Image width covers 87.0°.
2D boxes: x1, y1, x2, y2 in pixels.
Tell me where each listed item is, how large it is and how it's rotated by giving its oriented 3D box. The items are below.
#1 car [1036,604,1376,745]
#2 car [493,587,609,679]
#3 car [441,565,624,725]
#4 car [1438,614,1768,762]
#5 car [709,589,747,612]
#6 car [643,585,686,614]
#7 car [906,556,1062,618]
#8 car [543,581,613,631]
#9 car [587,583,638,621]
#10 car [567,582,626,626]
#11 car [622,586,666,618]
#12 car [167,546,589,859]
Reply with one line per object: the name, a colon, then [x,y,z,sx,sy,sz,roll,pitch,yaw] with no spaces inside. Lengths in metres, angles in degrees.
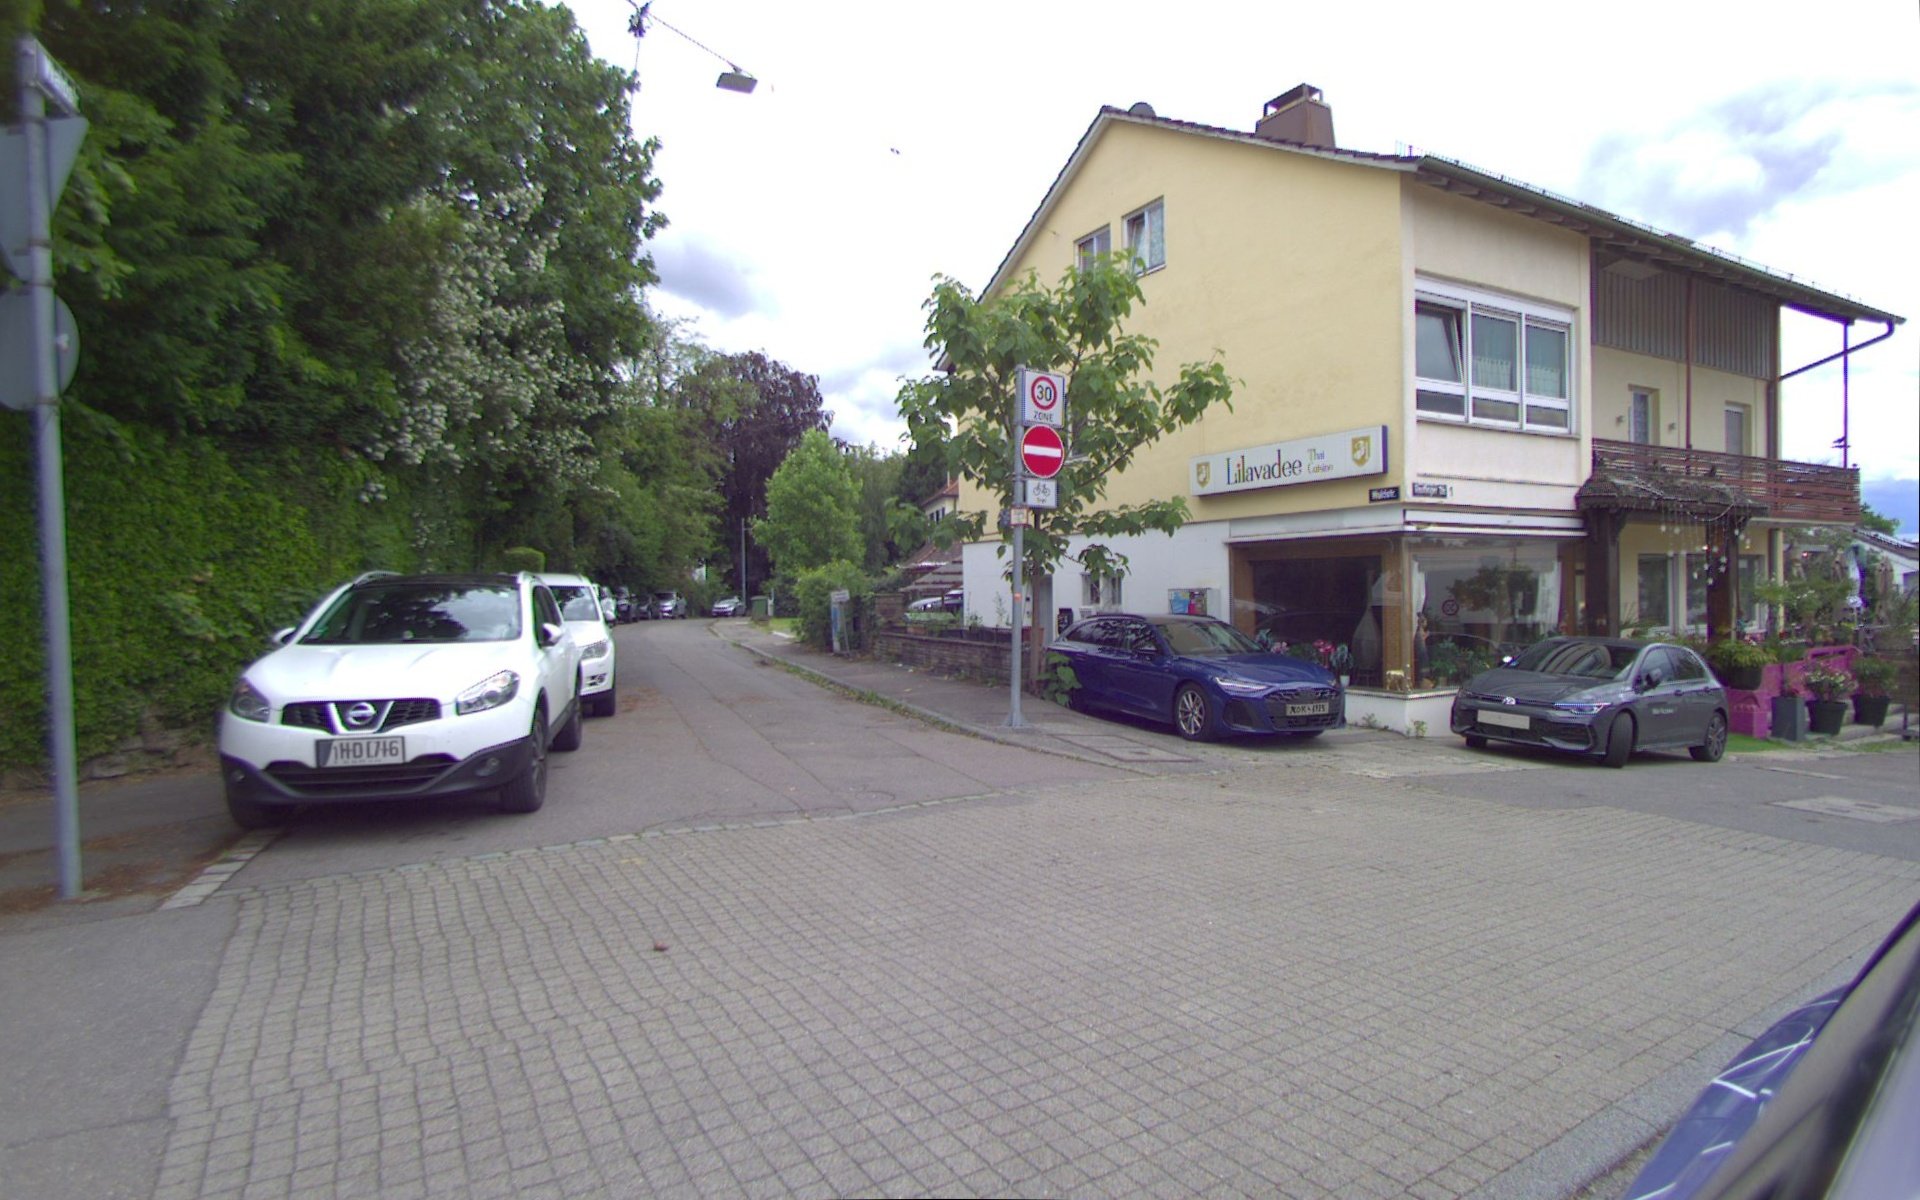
car: [2.906,0.830,13.207,1.761,1.405,4.758,2,0,-23]
car: [-7.404,0.503,18.557,1.761,1.441,4.080,-1,1,-20]
car: [-5.185,0.436,12.606,1.761,1.643,4.080,-1,1,-20]
car: [7.935,1.066,12.369,4.242,1.480,1.800,5,-2,-34]
car: [-16.360,0.033,71.453,1.547,1.502,3.468,0,1,7]
car: [-16.252,-0.037,55.790,1.543,1.502,3.476,0,1,-3]
car: [0.718,-0.369,30.319,4.235,1.480,1.802,4,-2,-19]
car: [-12.227,0.142,32.588,1.542,1.502,3.745,-1,1,-11]
car: [-14.218,0.048,41.521,1.542,1.502,3.481,-1,1,-11]
car: [-13.433,0.107,37.541,1.542,1.502,3.481,-1,1,-11]
car: [-15.928,0.078,51.108,1.542,1.502,3.479,-1,1,-8]
car: [-3.875,0.509,7.551,1.761,1.643,4.144,-1,1,-16]
